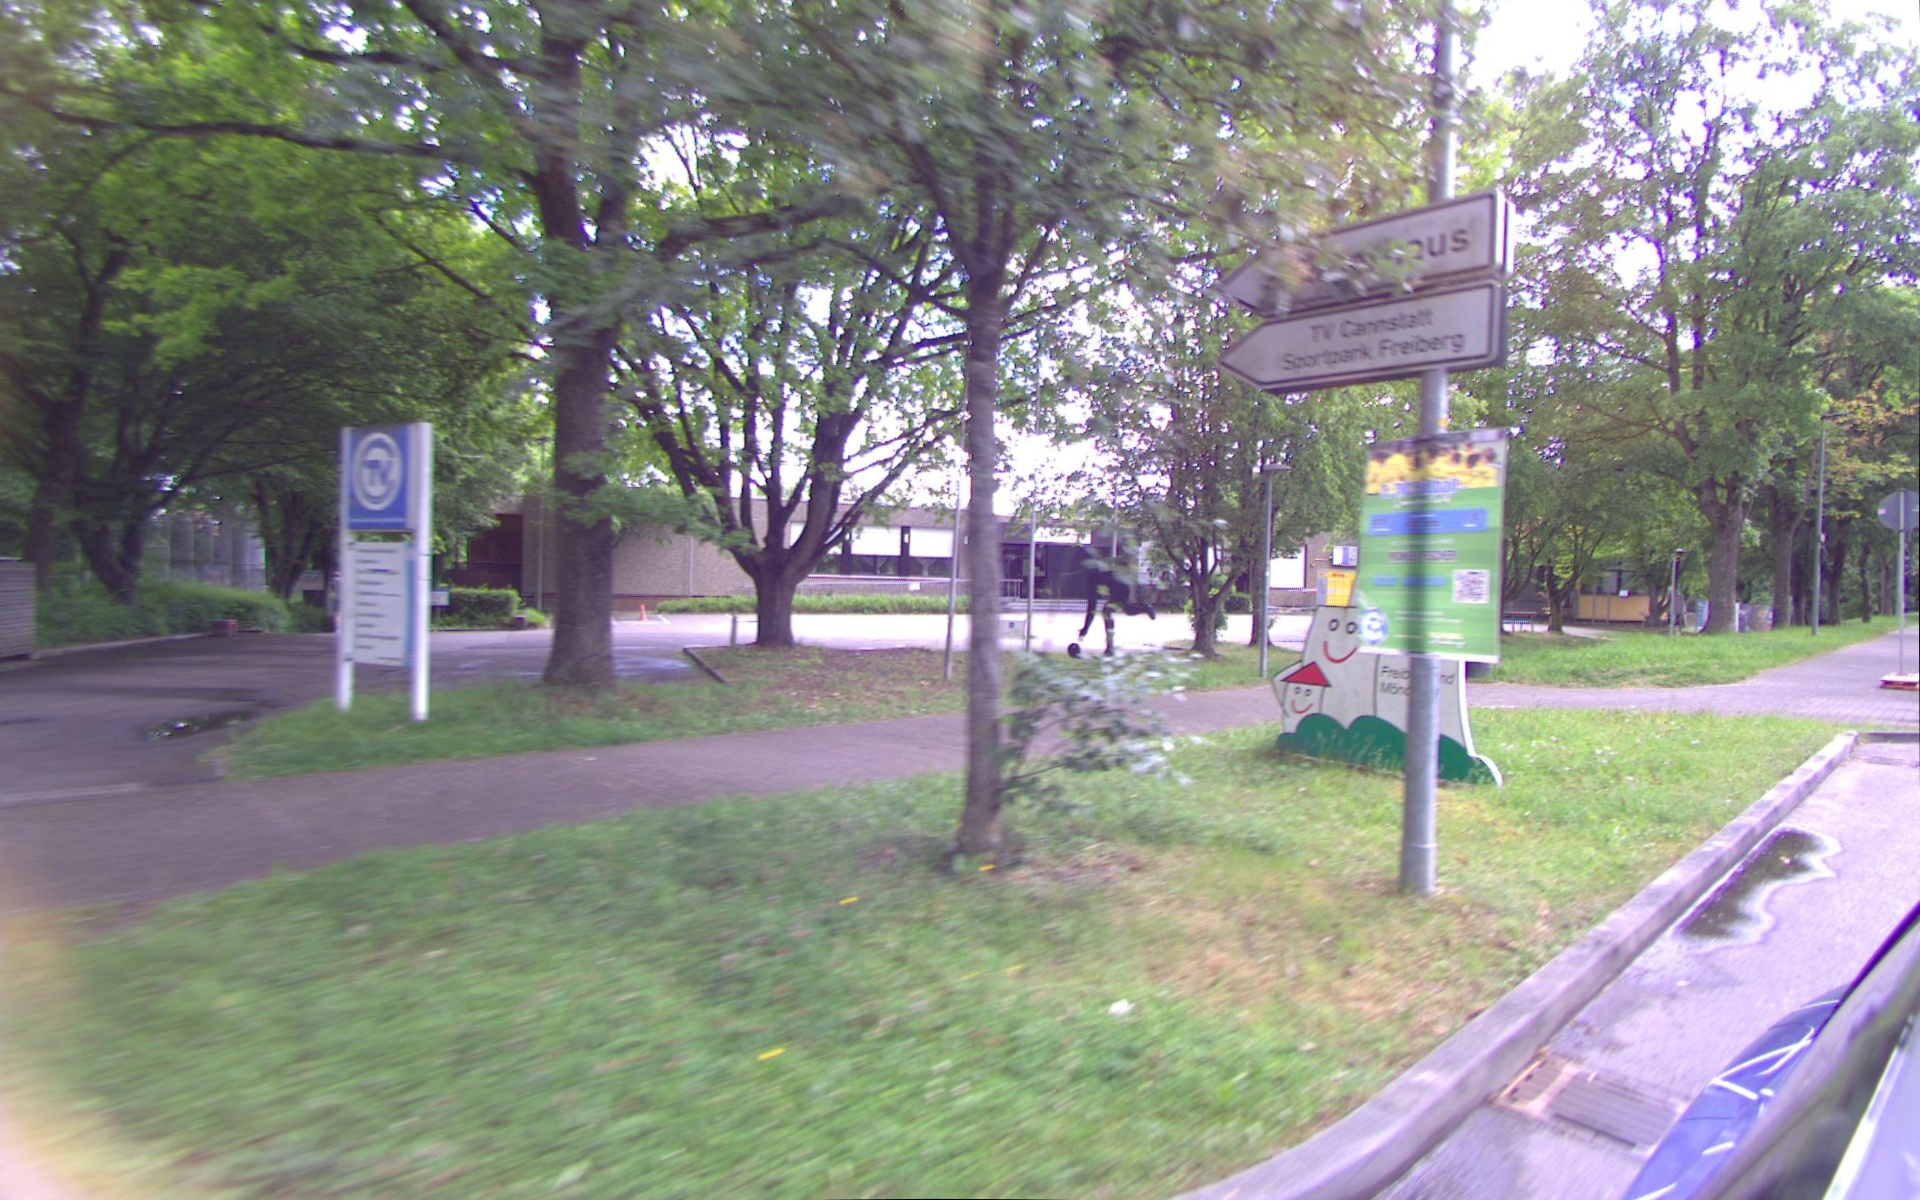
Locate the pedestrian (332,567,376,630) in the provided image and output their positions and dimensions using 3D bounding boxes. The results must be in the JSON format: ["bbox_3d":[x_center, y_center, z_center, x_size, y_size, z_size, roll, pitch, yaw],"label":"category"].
[{"bbox_3d":[-16.907,-0.064,28.253,0.777,1.694,1.154,0,3,-17],"label":"pedestrian"}]
